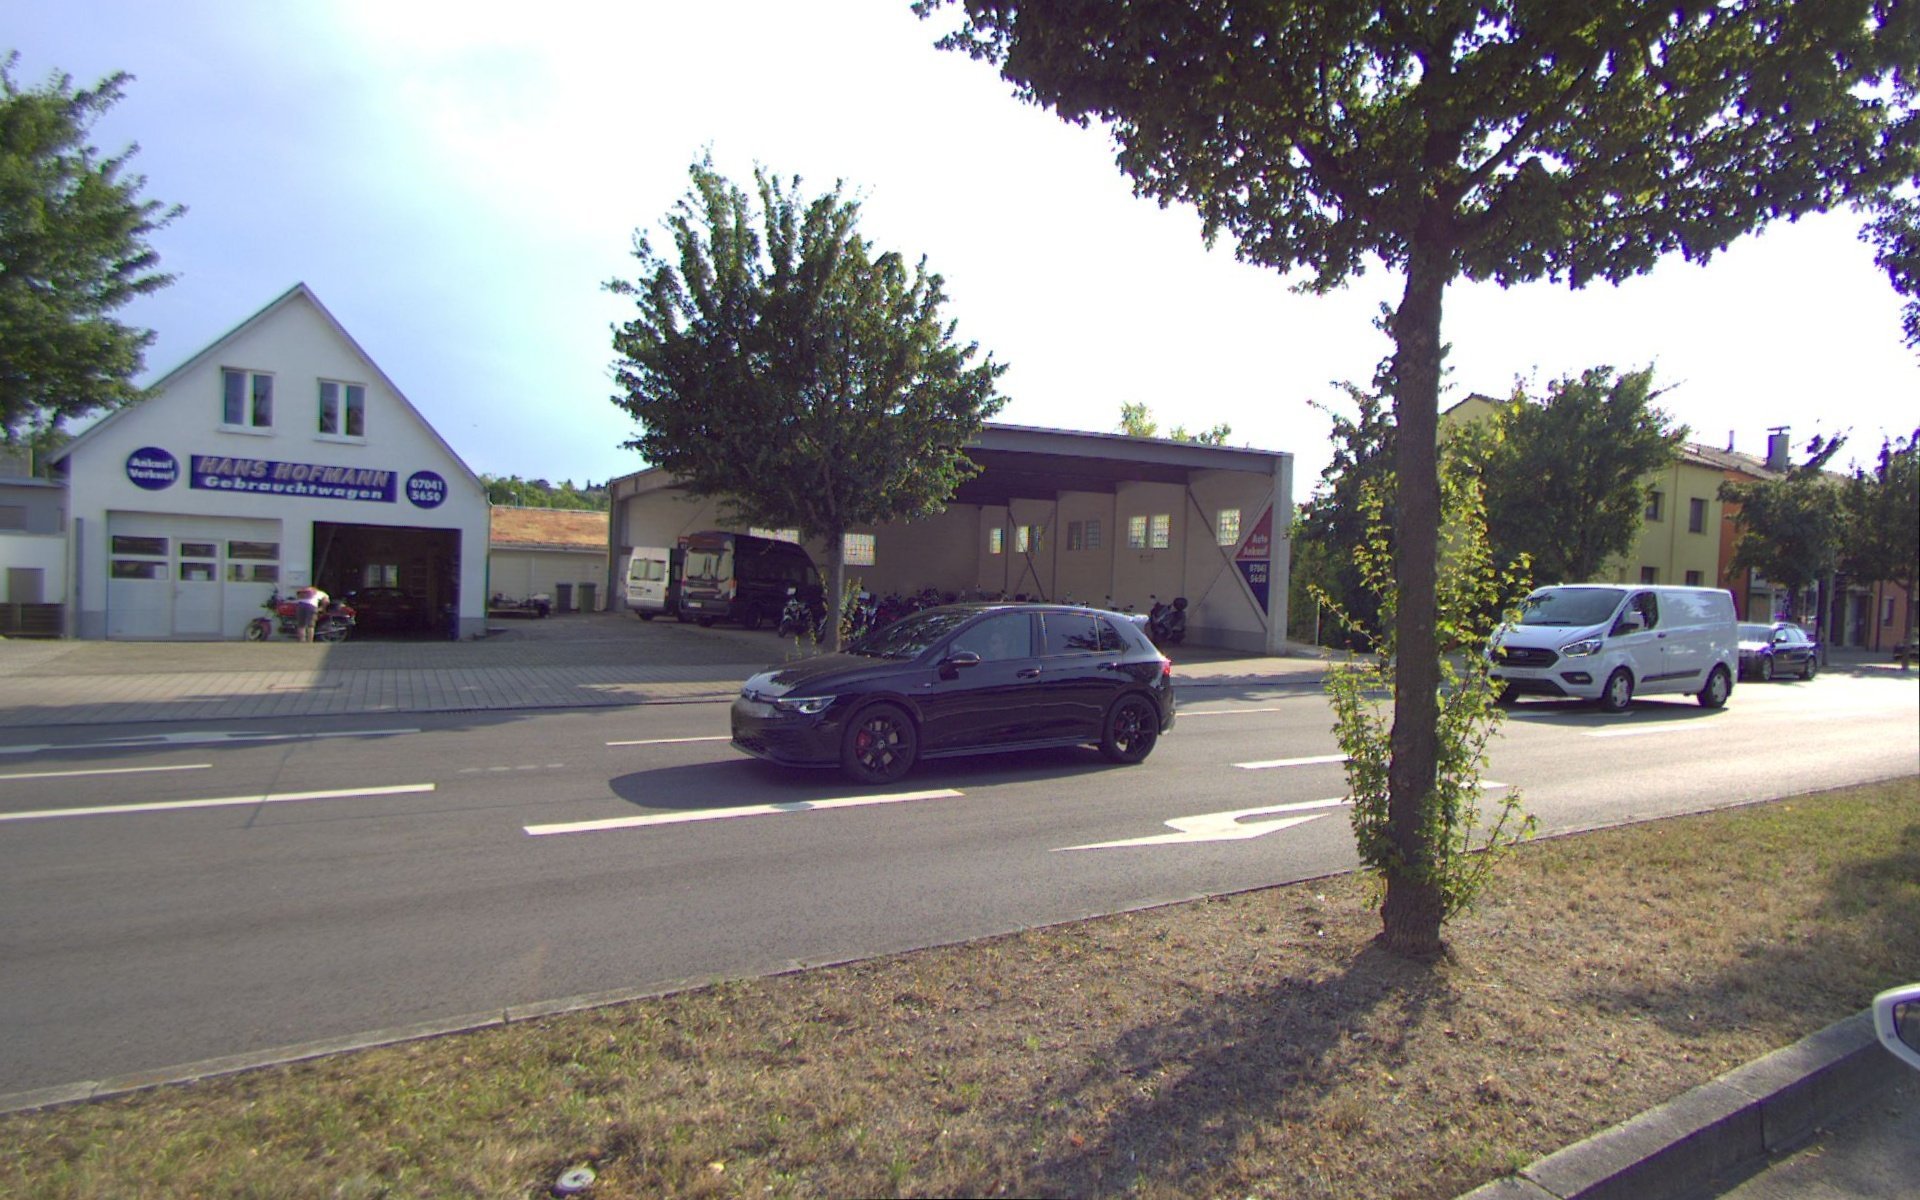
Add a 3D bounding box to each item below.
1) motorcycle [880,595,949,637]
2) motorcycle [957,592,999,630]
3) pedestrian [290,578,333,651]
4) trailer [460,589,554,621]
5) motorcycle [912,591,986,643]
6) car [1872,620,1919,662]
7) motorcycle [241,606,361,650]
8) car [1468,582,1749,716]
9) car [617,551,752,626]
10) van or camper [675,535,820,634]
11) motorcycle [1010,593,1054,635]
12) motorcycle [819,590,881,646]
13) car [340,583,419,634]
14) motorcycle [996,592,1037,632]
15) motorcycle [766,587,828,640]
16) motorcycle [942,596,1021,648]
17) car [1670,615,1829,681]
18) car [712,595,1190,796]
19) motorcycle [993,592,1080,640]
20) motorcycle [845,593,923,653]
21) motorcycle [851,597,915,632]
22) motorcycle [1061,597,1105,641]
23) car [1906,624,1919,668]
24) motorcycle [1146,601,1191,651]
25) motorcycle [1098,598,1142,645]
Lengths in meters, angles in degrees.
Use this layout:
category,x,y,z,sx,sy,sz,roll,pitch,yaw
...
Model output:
category,x,y,z,sx,sy,sz,roll,pitch,yaw
motorcycle,-1.430,0.506,31.850,2.112,1.275,0.647,2,0,0
motorcycle,0.672,0.391,35.930,0.553,1.325,2.086,2,0,29
pedestrian,-14.174,0.314,21.974,0.664,1.543,0.650,1,0,-23
trailer,-15.098,0.163,33.393,2.426,0.836,3.163,2,2,-33
motorcycle,-0.325,0.498,29.646,2.112,1.468,0.594,2,0,0
car,40.053,1.722,41.813,3.950,1.573,1.835,2,2,-28
motorcycle,-14.649,0.633,22.395,2.182,0.932,0.504,2,0,-28
car,10.741,0.759,16.547,4.885,1.949,1.815,2,0,-29
car,-8.947,-0.353,33.001,2.157,2.279,4.386,2,0,19
van or camper,-6.327,-0.432,30.542,1.960,2.716,5.039,2,0,19
motorcycle,2.382,0.455,32.896,0.573,1.325,2.086,2,0,29
motorcycle,-2.763,0.438,25.386,0.637,1.329,2.007,2,0,22
car,-17.270,0.219,30.038,1.863,1.403,4.054,1,0,-28
motorcycle,2.003,0.421,35.299,0.553,1.325,2.086,2,0,29
motorcycle,-4.315,0.354,26.757,0.637,1.329,2.007,2,0,22
motorcycle,0.578,0.589,27.427,2.112,1.347,0.563,2,0,0
car,20.331,1.203,25.841,4.196,1.517,1.798,2,0,-31
car,-0.014,0.748,9.242,4.061,1.470,1.760,2,0,-31
motorcycle,1.902,0.388,25.244,2.112,1.139,0.631,2,0,0
motorcycle,-1.754,0.521,23.461,0.659,1.329,2.001,2,0,36
motorcycle,-2.618,0.485,34.144,2.112,1.138,0.563,2,0,0
motorcycle,3.911,0.592,31.753,0.612,1.325,2.086,2,0,29
car,34.960,1.631,34.869,4.653,1.482,1.679,2,0,-29
motorcycle,5.785,0.708,27.807,0.553,1.325,2.112,2,0,29
motorcycle,4.726,0.620,29.511,0.553,1.325,2.086,2,0,29
